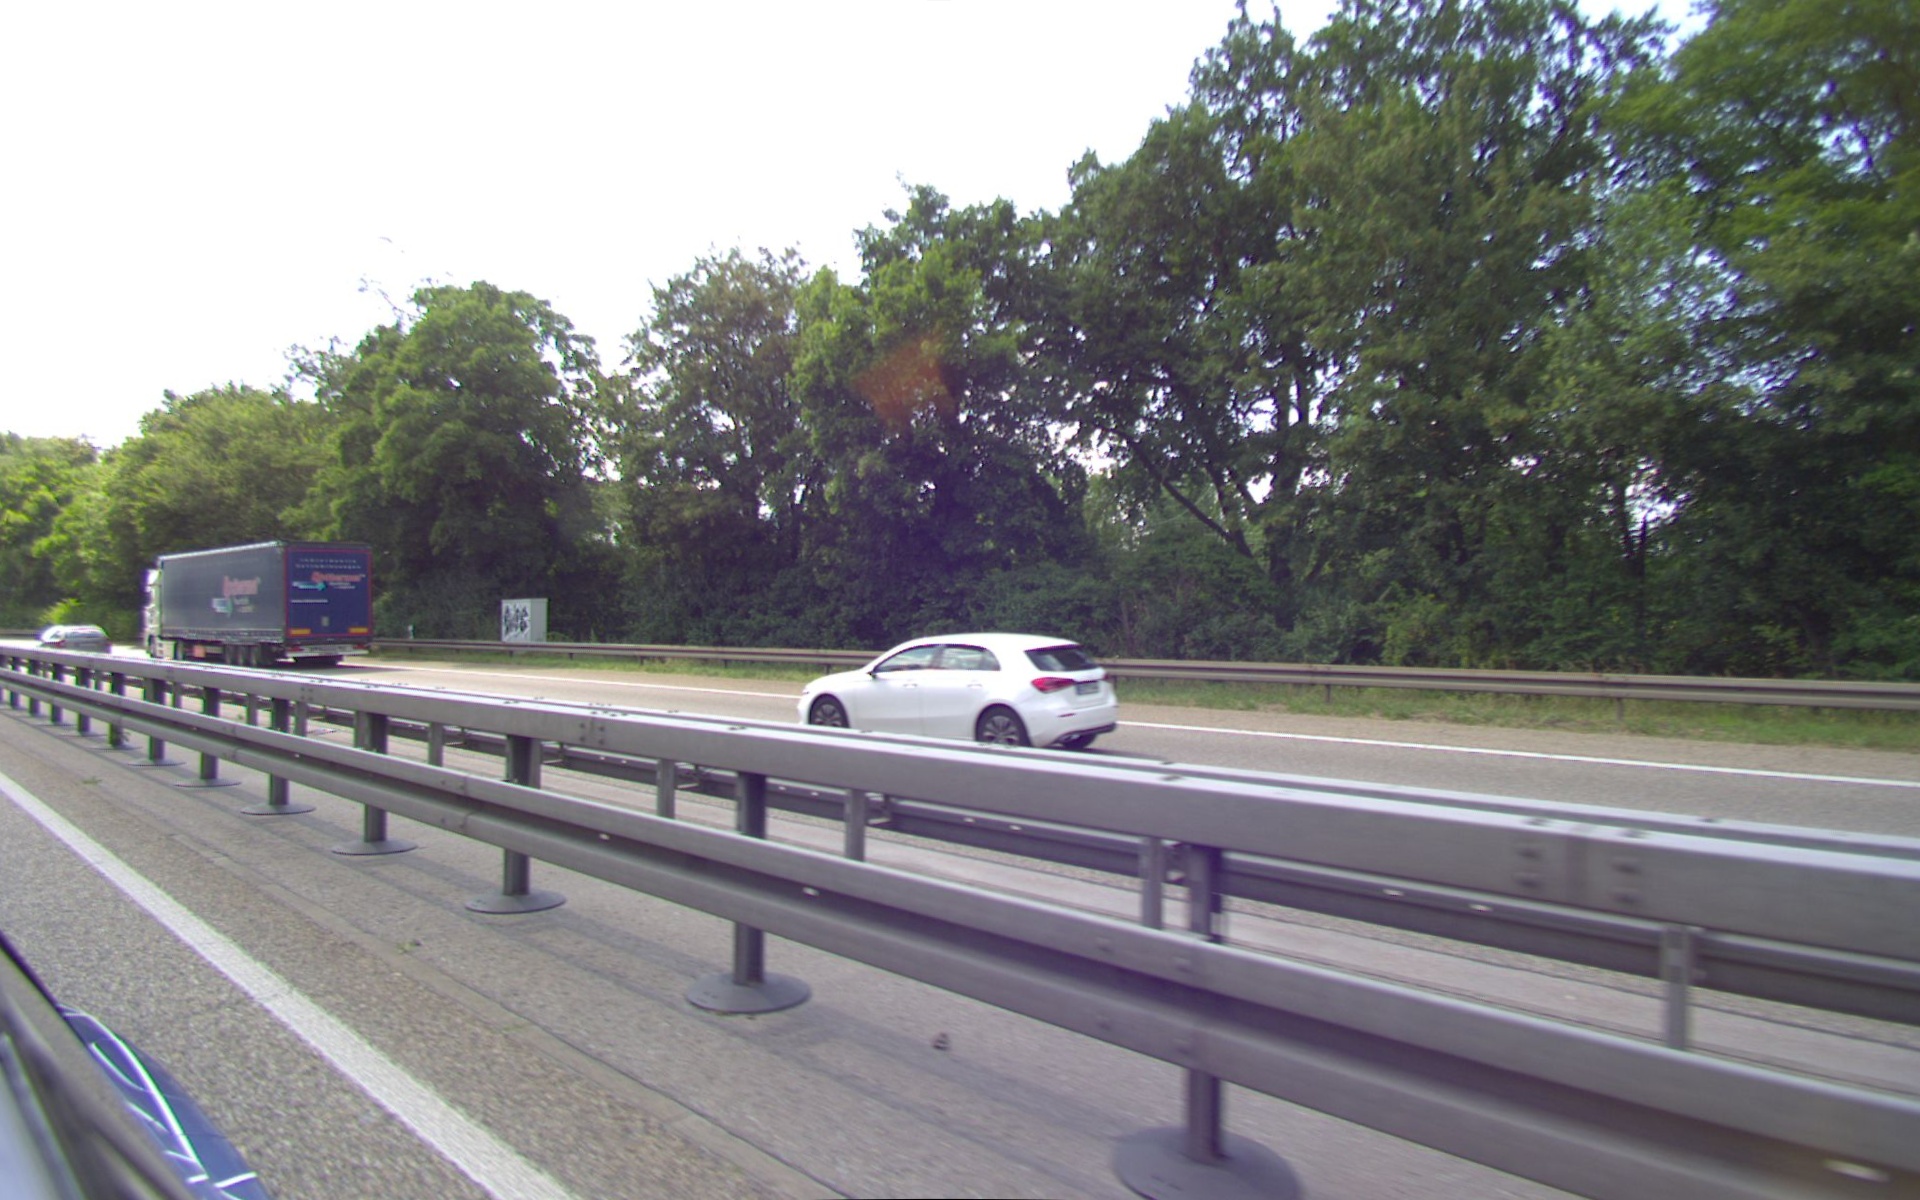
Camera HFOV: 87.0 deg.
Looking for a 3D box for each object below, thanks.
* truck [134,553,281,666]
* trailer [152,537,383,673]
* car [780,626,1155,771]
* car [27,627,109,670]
[{"bbox_3d":[-30.012,0.345,40.290,6.125,4.128,3.341,0,0,40],"label":"truck"},{"bbox_3d":[-24.886,0.171,35.894,12.969,4.110,3.370,0,0,40],"label":"trailer"},{"bbox_3d":[-0.038,1.074,12.513,4.543,1.442,1.663,-1,0,37],"label":"car"},{"bbox_3d":[-32.301,1.715,36.630,4.005,1.456,1.645,-1,-2,40],"label":"car"}]
